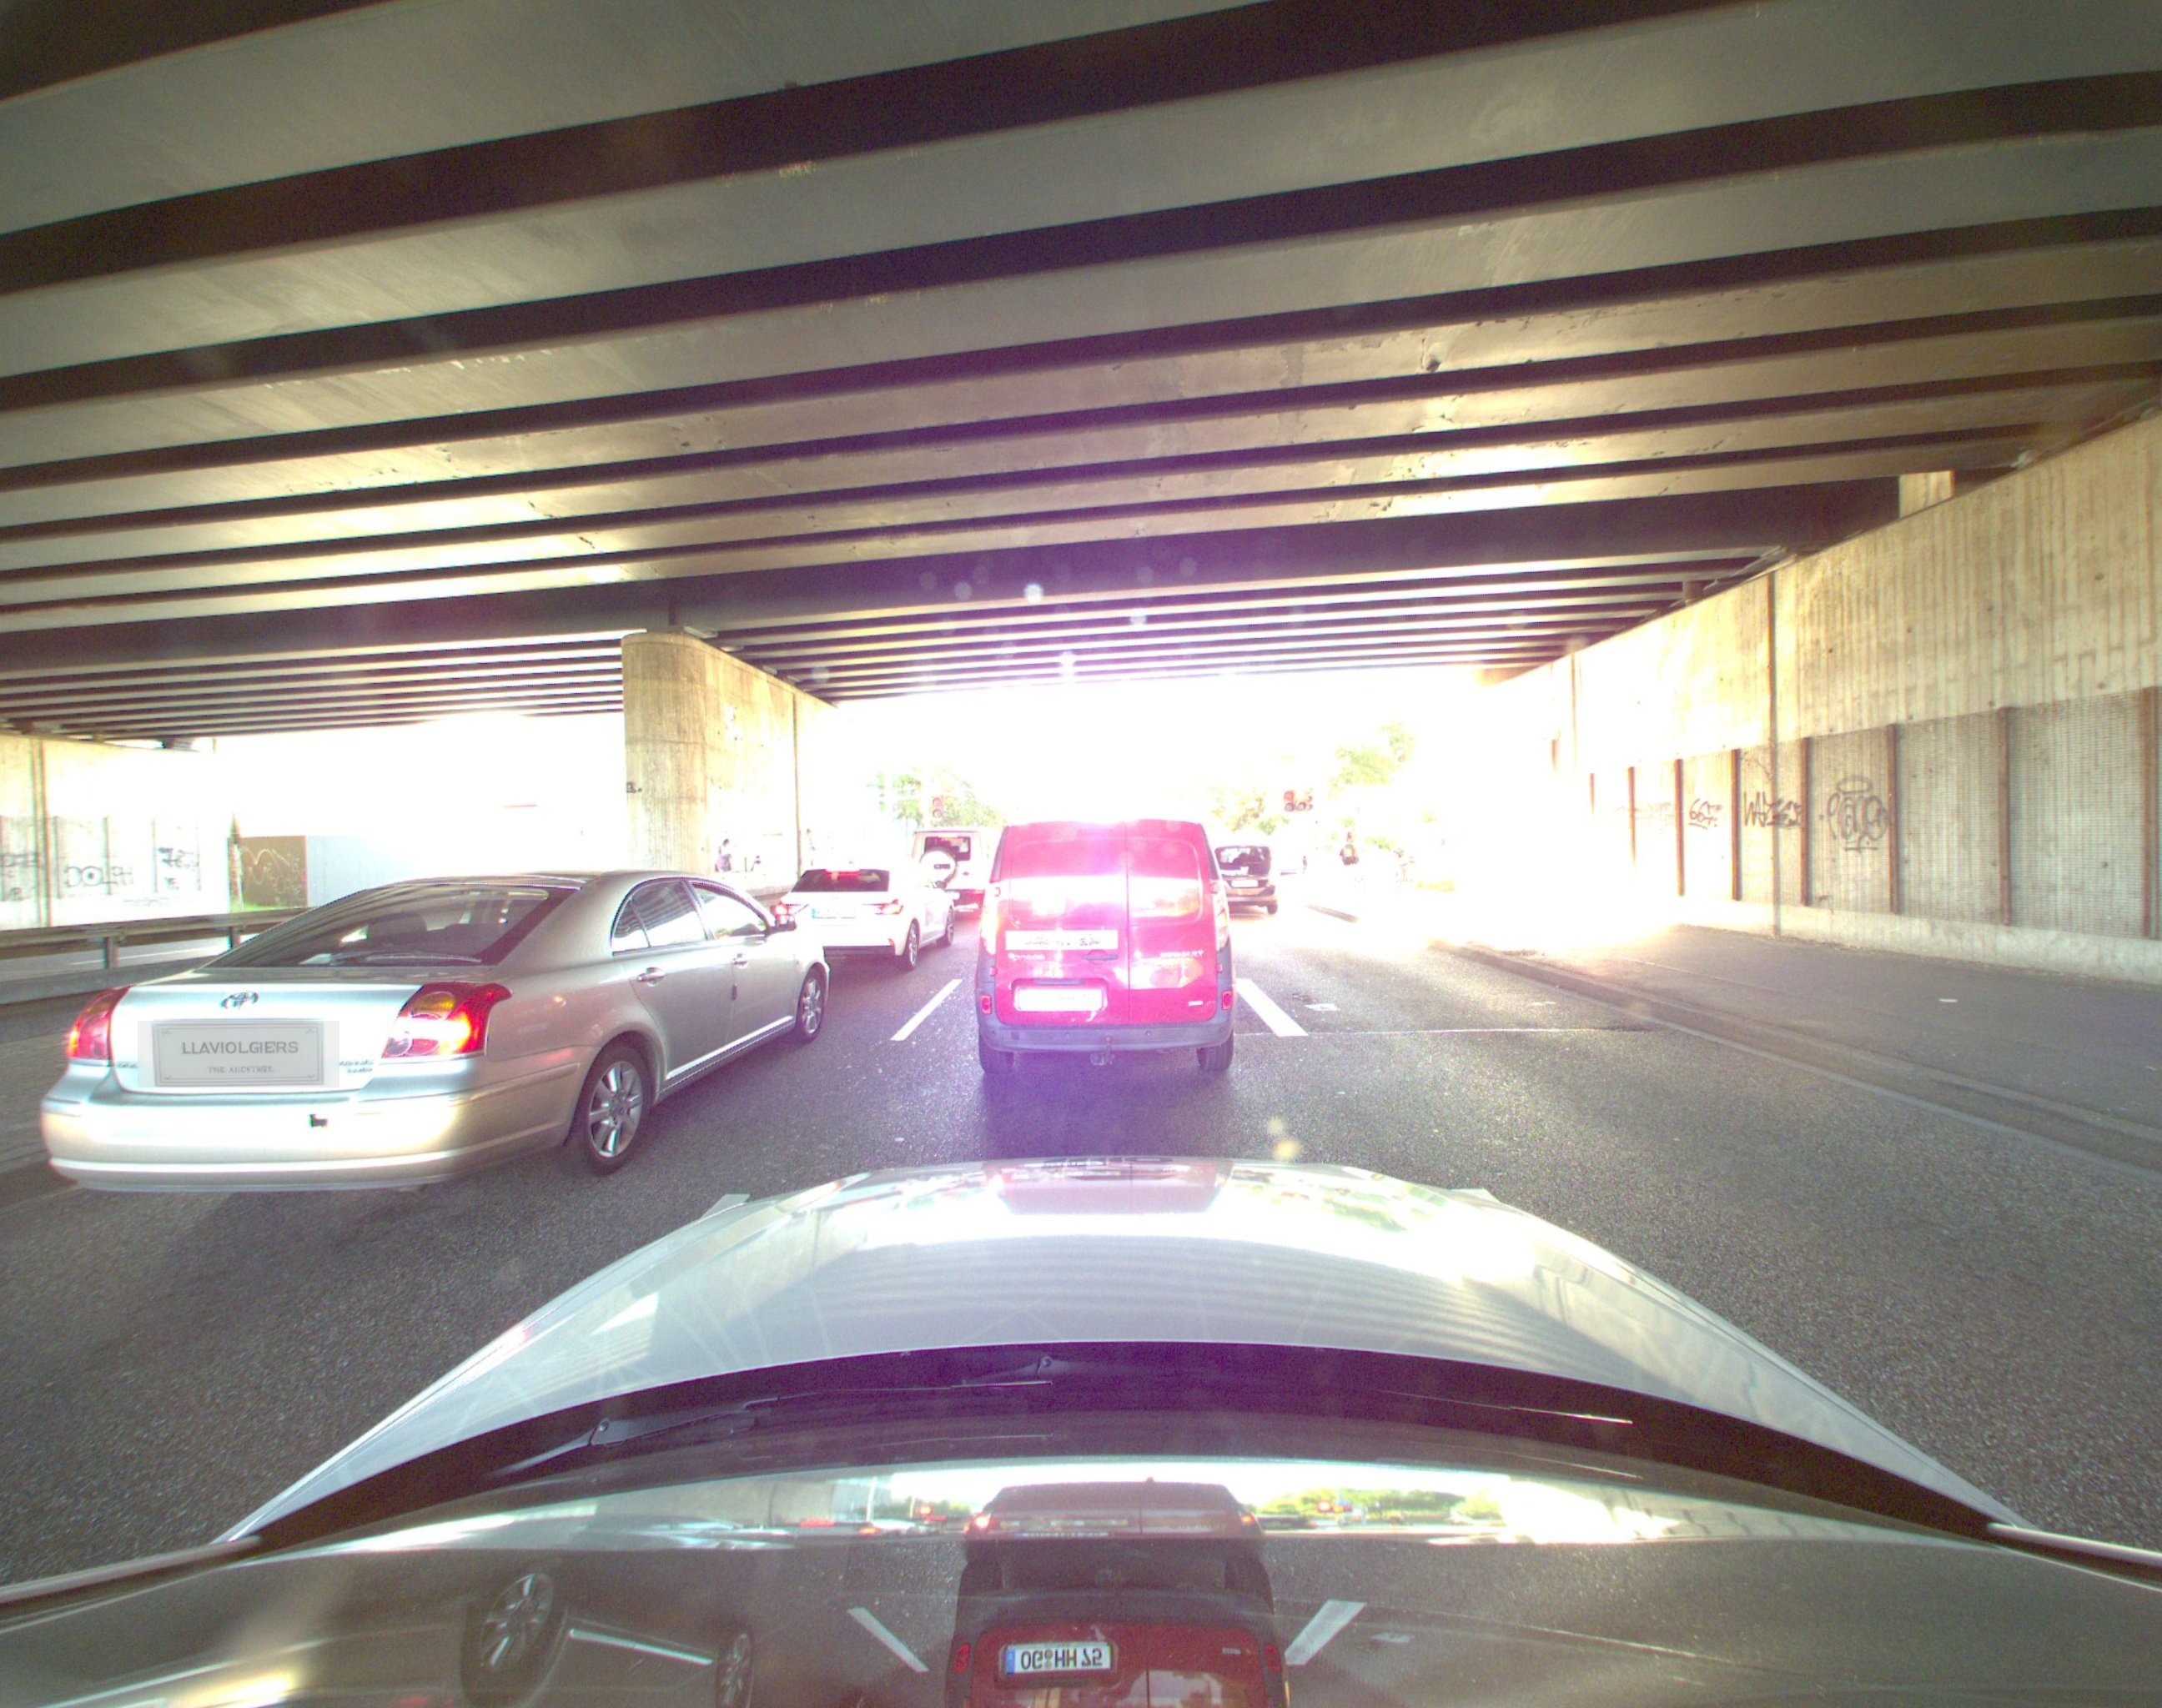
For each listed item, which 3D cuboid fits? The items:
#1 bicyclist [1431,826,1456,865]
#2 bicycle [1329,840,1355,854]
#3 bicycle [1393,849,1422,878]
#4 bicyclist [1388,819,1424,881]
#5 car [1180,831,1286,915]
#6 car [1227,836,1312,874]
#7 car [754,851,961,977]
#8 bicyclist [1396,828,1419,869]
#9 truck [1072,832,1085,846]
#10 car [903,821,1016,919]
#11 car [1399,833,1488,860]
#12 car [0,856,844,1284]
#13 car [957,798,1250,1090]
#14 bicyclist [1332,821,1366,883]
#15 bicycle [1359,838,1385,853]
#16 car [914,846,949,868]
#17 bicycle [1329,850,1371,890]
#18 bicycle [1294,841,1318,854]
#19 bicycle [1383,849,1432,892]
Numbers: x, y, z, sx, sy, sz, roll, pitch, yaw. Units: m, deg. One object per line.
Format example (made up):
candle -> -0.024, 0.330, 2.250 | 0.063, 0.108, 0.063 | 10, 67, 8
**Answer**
bicyclist -> 13.977, -0.330, 31.416 | 0.647, 1.480, 0.618 | -1, 1, -2
bicycle -> 19.424, -0.530, 60.625 | 1.734, 1.023, 0.595 | -1, -1, 10
bicycle -> 11.950, 0.347, 29.809 | 0.665, 1.023, 2.068 | -1, -1, 31
bicyclist -> 8.221, -0.102, 20.617 | 0.589, 1.548, 0.769 | 0, -1, 1
car -> 3.406, 0.403, 18.902 | 1.713, 1.706, 3.981 | -1, 0, 0
car -> 8.187, 0.036, 35.163 | 1.862, 1.543, 4.220 | -1, 0, 40
car -> -2.951, 0.718, 11.599 | 1.807, 1.438, 3.732 | -1, 1, 1
bicyclist -> 11.930, -0.192, 29.793 | 0.658, 1.474, 0.756 | -1, -1, 30
truck -> -0.628, -3.399, 187.741 | 2.399, 3.026, 6.661 | -4, 0, 3
car -> -2.695, 0.349, 19.073 | 1.794, 1.989, 4.591 | 0, -1, 2
car -> 21.390, -0.410, 48.194 | 4.521, 1.514, 1.832 | 0, -1, 9
car -> -3.008, 0.775, 5.072 | 1.727, 1.480, 4.319 | -1, 0, 0
car -> 0.202, 0.572, 7.038 | 1.798, 1.794, 4.001 | 0, -1, 2
bicyclist -> 7.137, -0.040, 21.722 | 0.589, 1.613, 0.943 | 0, -1, 2
bicycle -> 21.291, -0.632, 59.597 | 1.733, 1.023, 0.596 | -1, -1, 13
car -> -13.195, 0.253, 72.123 | 1.817, 1.737, 4.634 | -4, 0, 4
bicycle -> 7.156, 0.422, 21.721 | 0.589, 1.023, 1.751 | 0, -1, 2
bicycle -> 17.188, -0.502, 62.143 | 1.734, 1.023, 0.595 | -1, -1, 10
bicycle -> 8.241, 0.405, 20.614 | 0.589, 1.023, 1.751 | 0, -1, 2
